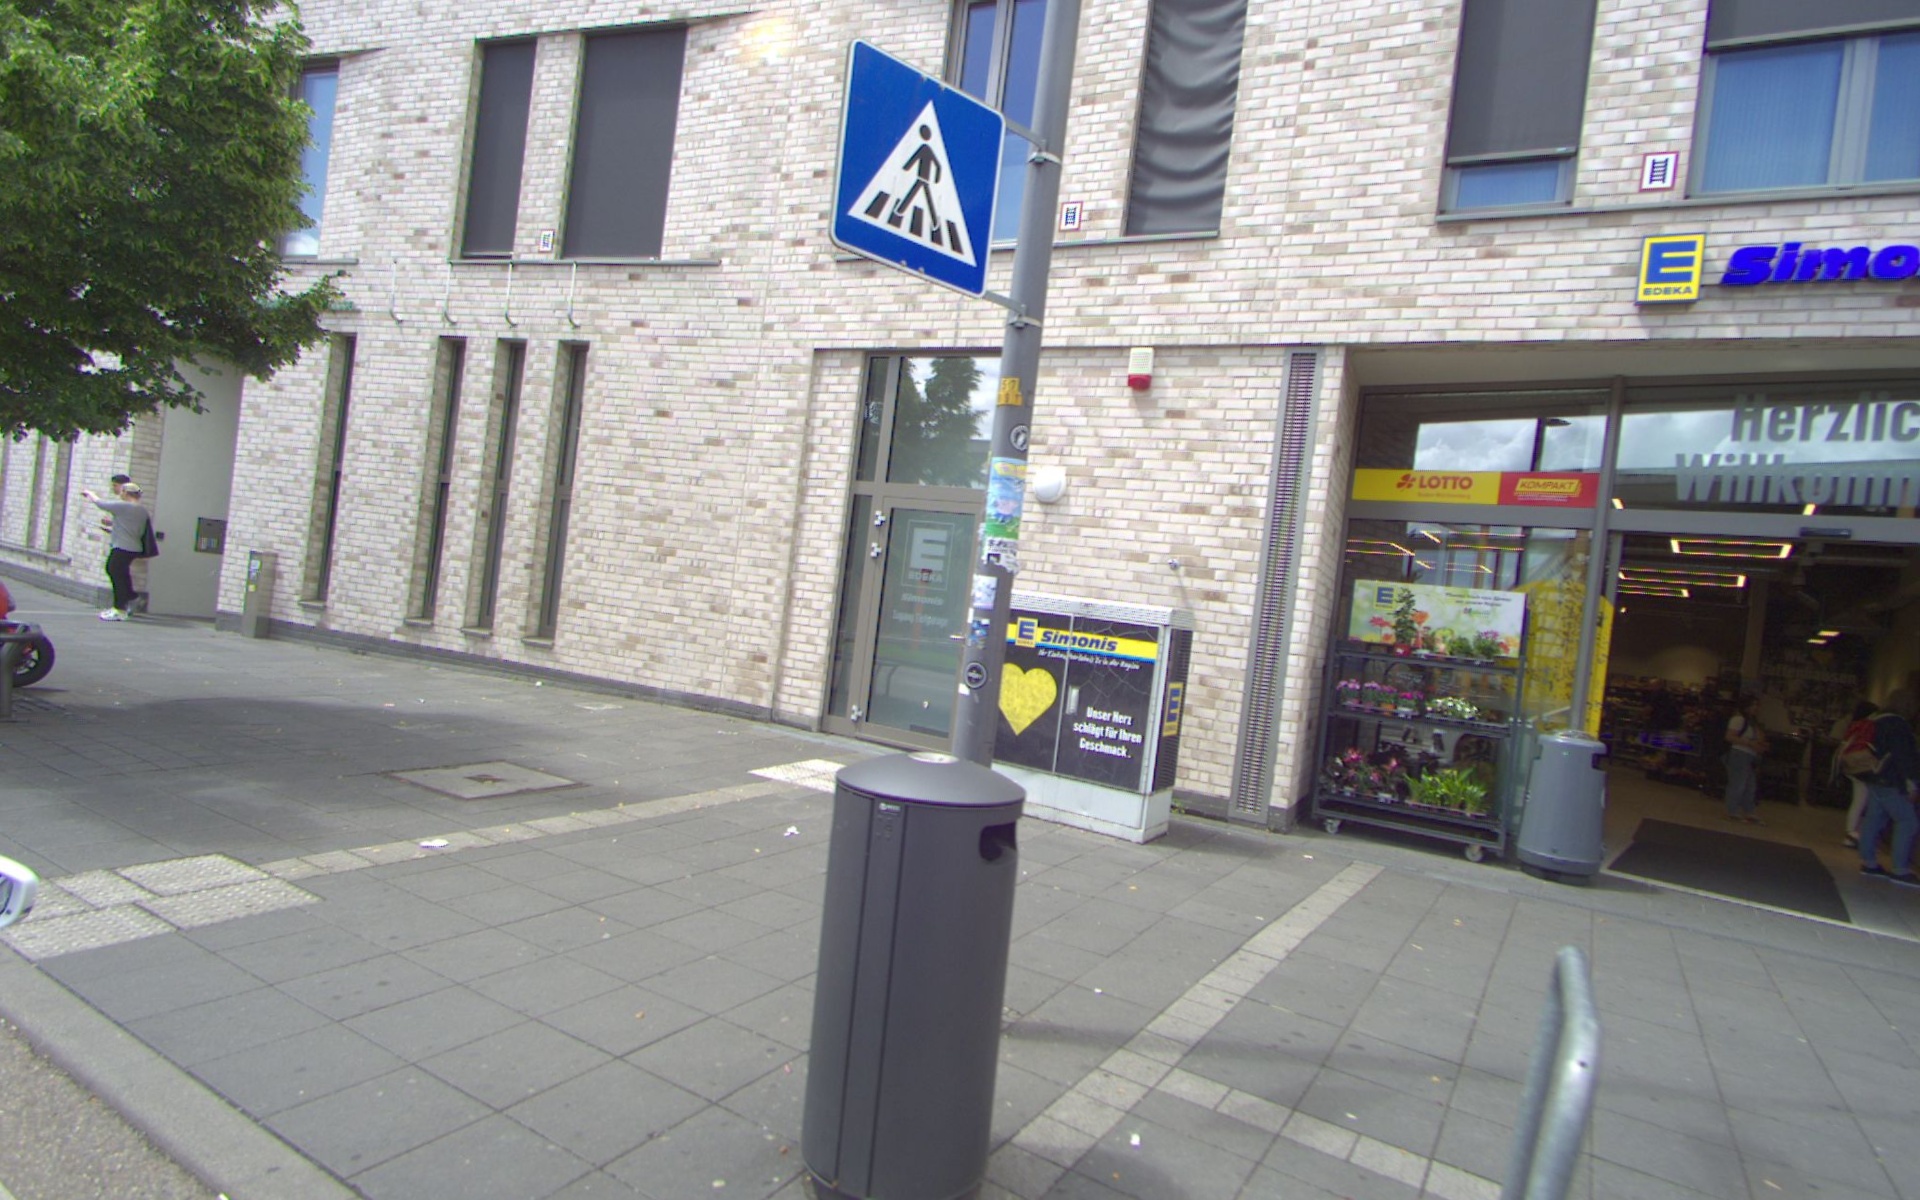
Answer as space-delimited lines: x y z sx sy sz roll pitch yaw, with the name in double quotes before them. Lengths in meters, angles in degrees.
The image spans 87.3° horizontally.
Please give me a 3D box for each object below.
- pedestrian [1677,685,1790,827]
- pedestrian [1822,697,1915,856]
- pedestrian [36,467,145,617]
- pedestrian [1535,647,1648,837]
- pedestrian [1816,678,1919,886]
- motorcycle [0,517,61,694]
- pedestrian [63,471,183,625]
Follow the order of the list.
"pedestrian" 9.473 1.887 12.343 0.695 1.580 0.683 6 0 5
"pedestrian" 10.037 1.927 11.131 0.594 1.625 0.518 5 -2 34
"pedestrian" -11.016 -0.718 12.756 0.612 1.789 0.737 6 1 21
"pedestrian" 6.186 1.368 9.852 0.651 1.713 0.679 7 1 44
"pedestrian" 8.399 1.635 9.160 0.728 1.746 0.660 5 -2 34
"motorcycle" -7.725 -0.022 7.052 0.664 1.282 2.044 6 1 44
"pedestrian" -10.343 -0.626 12.448 0.743 1.789 0.735 6 0 13
